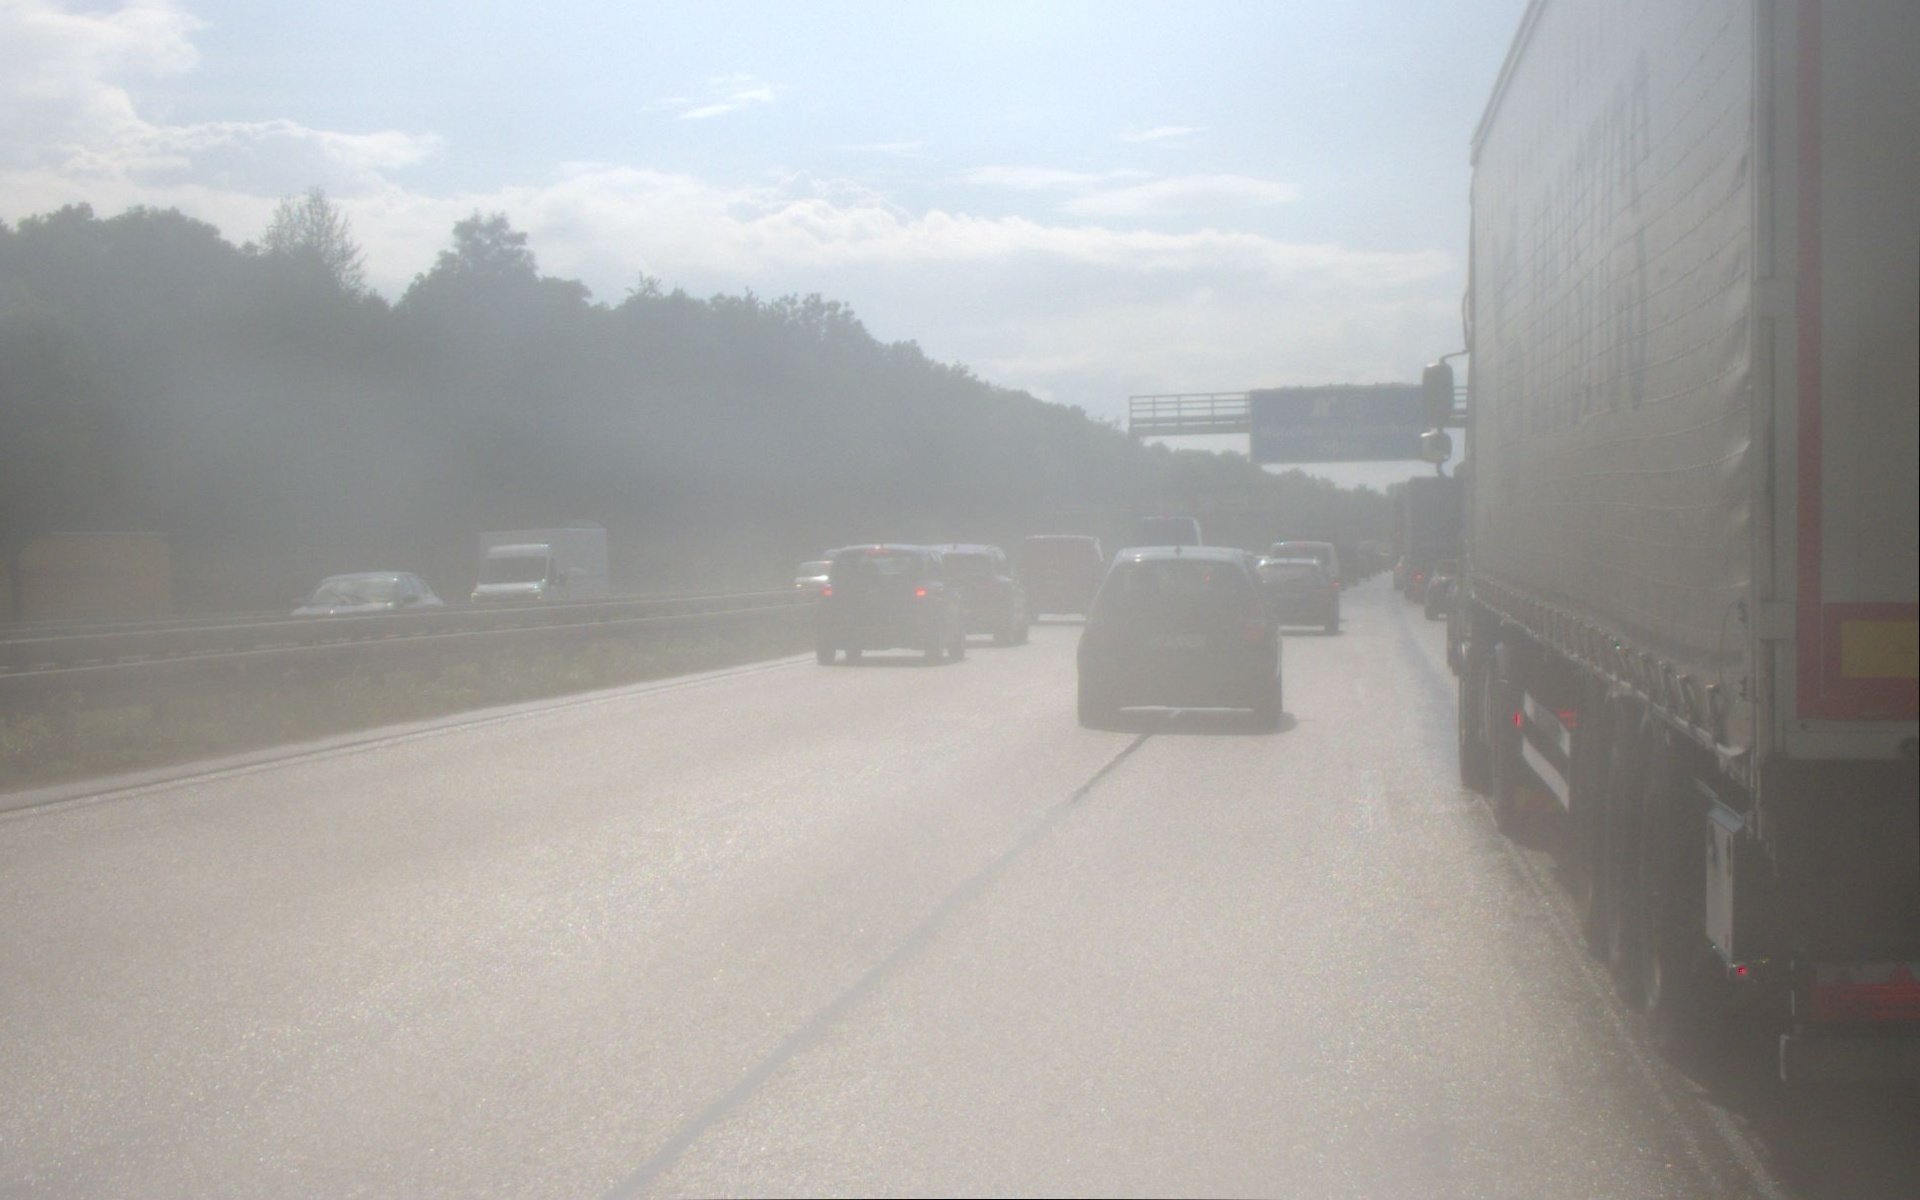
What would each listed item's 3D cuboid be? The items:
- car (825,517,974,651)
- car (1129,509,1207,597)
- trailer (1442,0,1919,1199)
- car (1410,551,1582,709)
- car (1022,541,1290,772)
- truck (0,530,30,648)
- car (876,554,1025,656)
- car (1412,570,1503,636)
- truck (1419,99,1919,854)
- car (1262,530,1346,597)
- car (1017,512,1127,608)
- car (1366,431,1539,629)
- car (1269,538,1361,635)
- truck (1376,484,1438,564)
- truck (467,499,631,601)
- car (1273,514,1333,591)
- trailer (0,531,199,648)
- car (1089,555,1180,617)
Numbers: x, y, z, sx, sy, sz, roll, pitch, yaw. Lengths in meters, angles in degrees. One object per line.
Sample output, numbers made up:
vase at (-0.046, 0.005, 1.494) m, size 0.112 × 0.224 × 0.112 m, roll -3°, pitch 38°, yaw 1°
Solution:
car at (-0.815, -0.227, 48.613) m, size 1.693 × 1.798 × 3.975 m, roll 1°, pitch 0°, yaw 5°
car at (6.366, -1.403, 104.597) m, size 1.994 × 2.606 × 5.258 m, roll 1°, pitch 0°, yaw 7°
trailer at (3.789, -0.623, 13.916) m, size 3.284 × 3.885 × 14.125 m, roll 1°, pitch 1°, yaw 7°
car at (6.938, 0.346, 44.944) m, size 1.942 × 1.912 × 5.651 m, roll 1°, pitch 0°, yaw 6°
car at (1.899, 0.470, 31.874) m, size 2.274 × 1.948 × 4.820 m, roll 1°, pitch 0°, yaw 5°
truck at (-35.897, -0.396, 118.950) m, size 3.792 × 4.103 × 7.038 m, roll 1°, pitch 0°, yaw 20°
car at (-0.111, 0.071, 58.046) m, size 1.909 × 1.631 × 4.615 m, roll -1°, pitch 0°, yaw 7°
car at (11.693, 0.054, 81.000) m, size 1.865 × 1.511 × 3.975 m, roll 1°, pitch 0°, yaw 5°
truck at (4.586, -0.687, 20.943) m, size 3.285 × 3.877 × 6.395 m, roll 1°, pitch 1°, yaw 6°
car at (8.012, -0.842, 80.363) m, size 1.865 × 1.511 × 3.975 m, roll 1°, pitch 0°, yaw 5°
car at (2.529, -0.867, 76.298) m, size 1.979 × 2.047 × 4.755 m, roll 1°, pitch 0°, yaw 7°
car at (15.550, -2.129, 110.085) m, size 4.404 × 5.810 × 16.815 m, roll 1°, pitch 0°, yaw 5°
car at (6.863, -0.264, 66.795) m, size 1.693 × 1.798 × 3.975 m, roll 1°, pitch 0°, yaw 5°
truck at (20.861, -3.531, 160.629) m, size 2.776 × 3.619 × 5.915 m, roll 1°, pitch 0°, yaw 7°
truck at (-11.290, -1.348, 95.144) m, size 2.843 × 2.673 × 7.189 m, roll 1°, pitch 0°, yaw 7°
car at (12.597, -1.708, 126.062) m, size 1.994 × 2.737 × 5.258 m, roll 1°, pitch 0°, yaw 7°
trailer at (-32.978, -0.414, 126.853) m, size 3.792 × 4.103 × 11.713 m, roll 1°, pitch 0°, yaw 20°
car at (4.577, -0.367, 89.819) m, size 1.994 × 1.559 × 4.755 m, roll 1°, pitch 0°, yaw 7°
